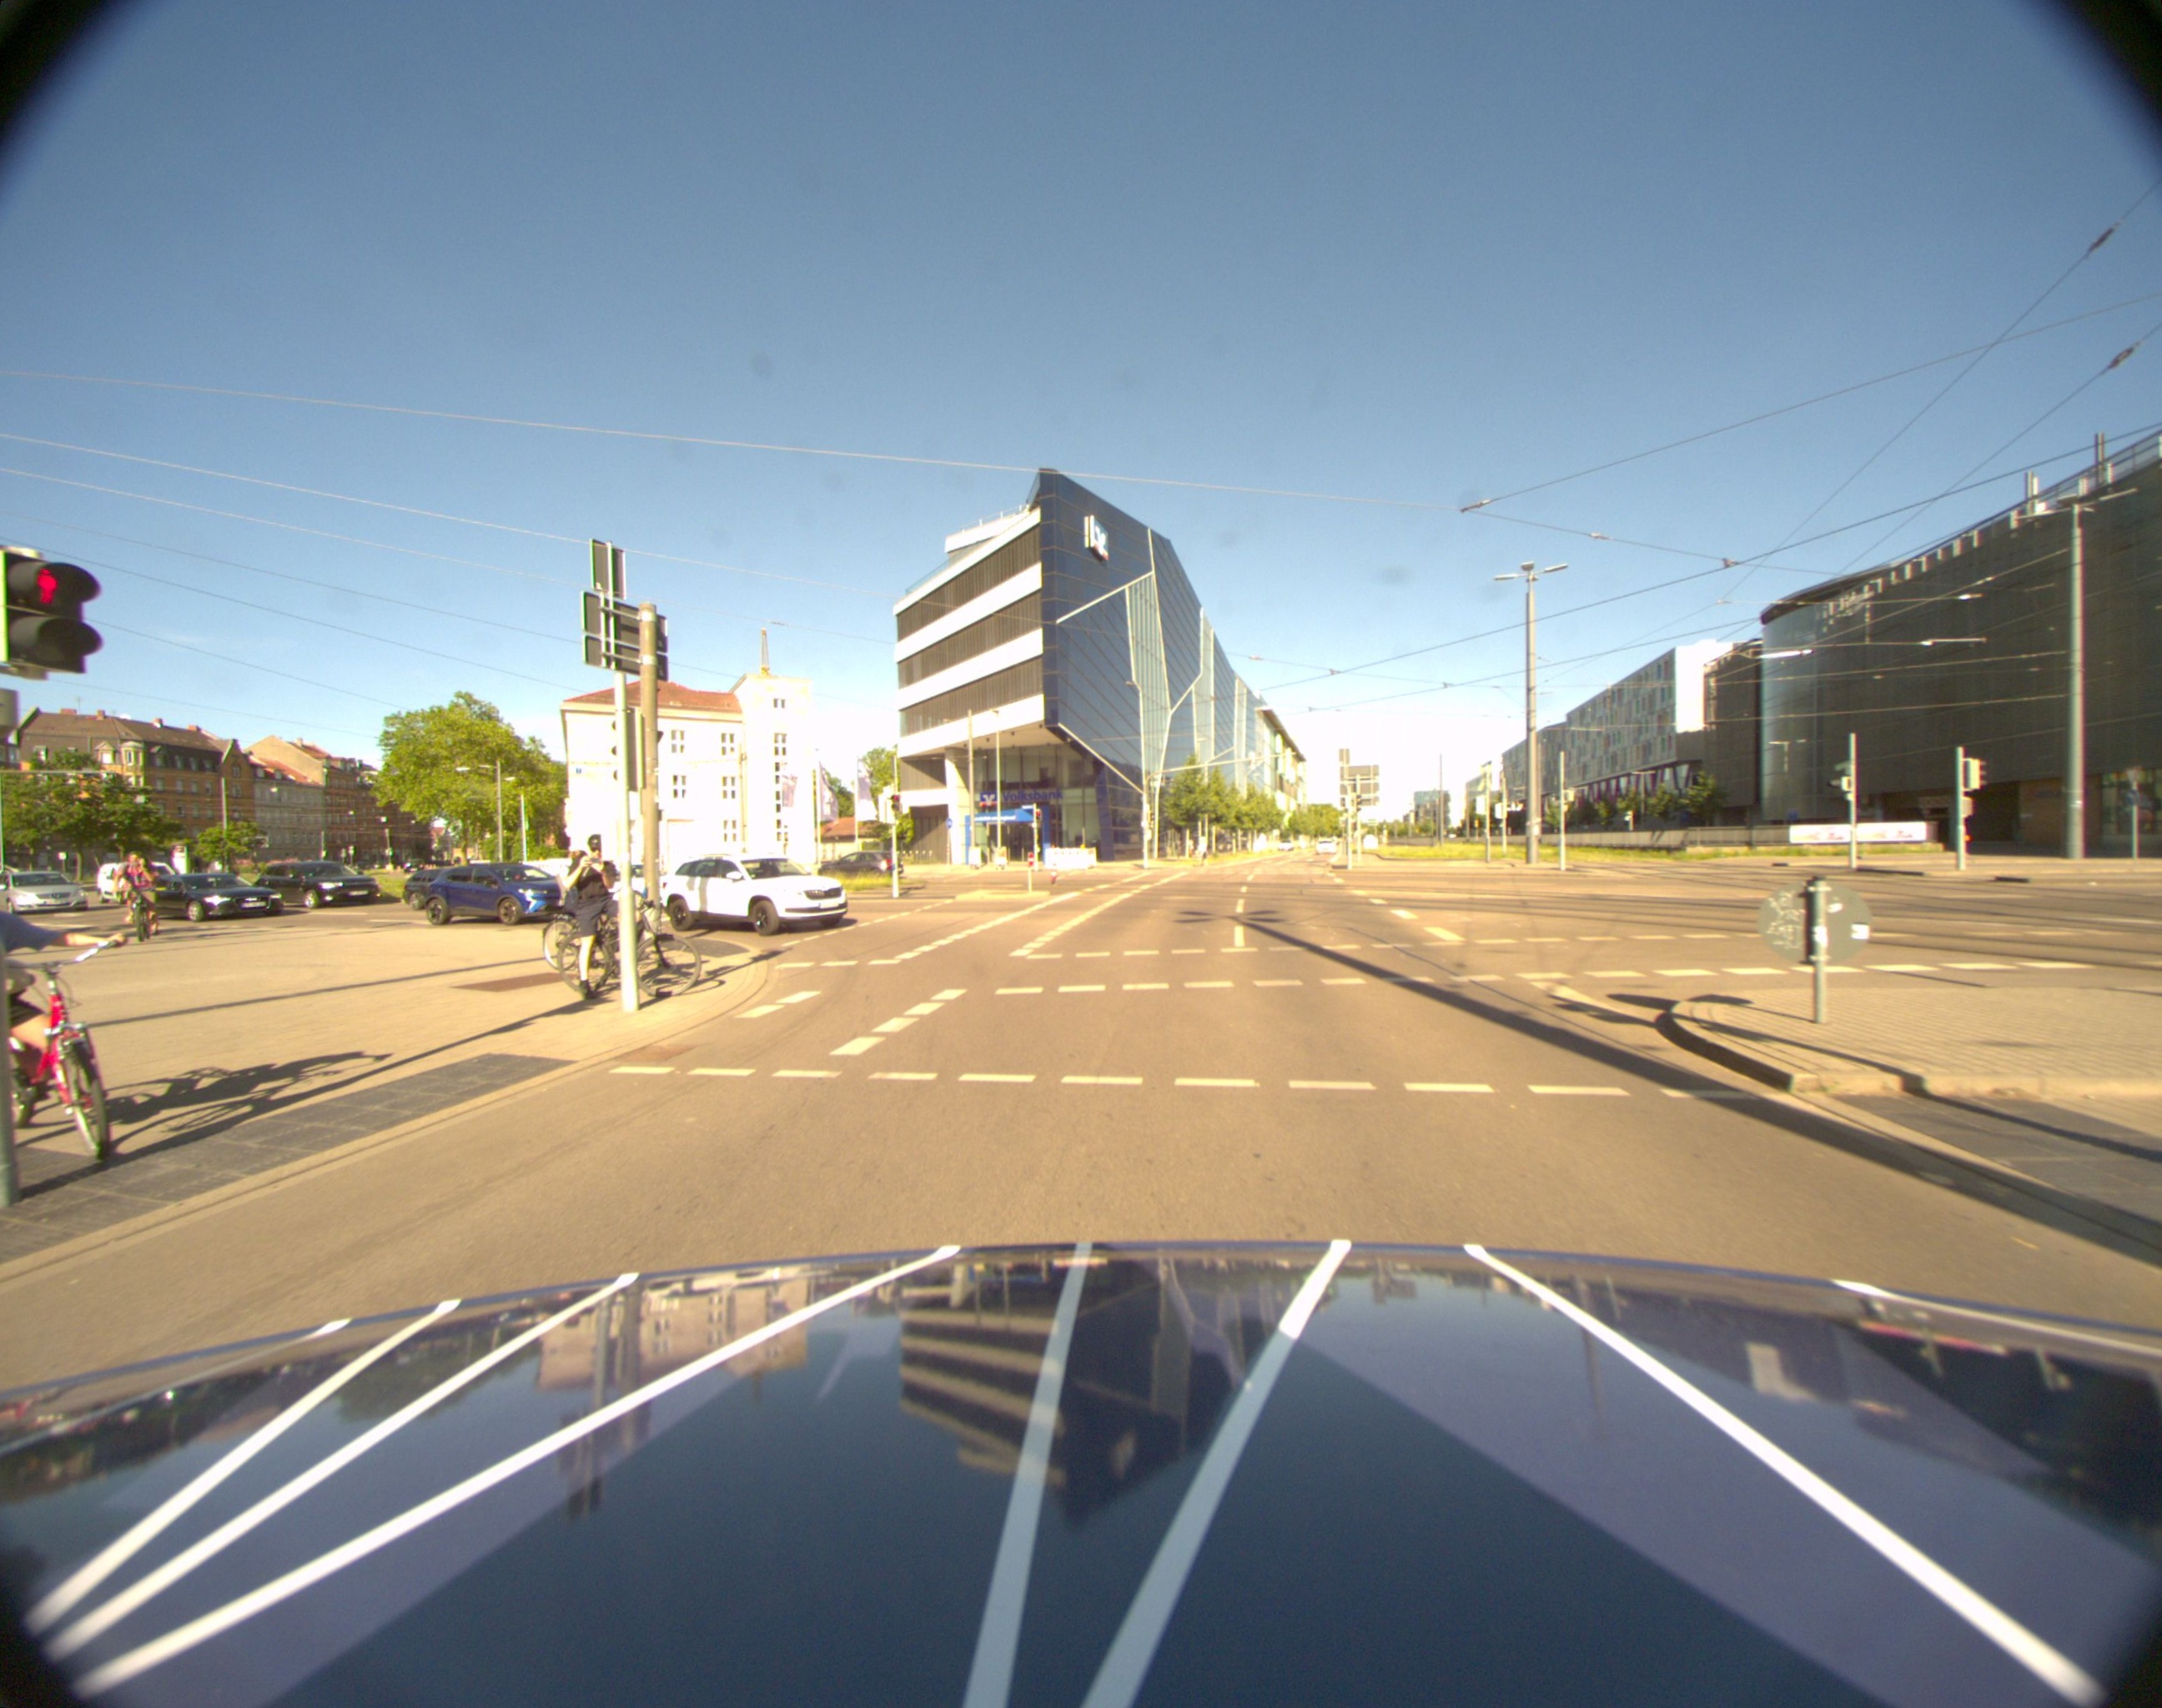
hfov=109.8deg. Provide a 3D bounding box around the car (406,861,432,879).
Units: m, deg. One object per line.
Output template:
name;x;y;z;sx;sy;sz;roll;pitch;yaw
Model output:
car;-70.054;1.633;80.468;1.773;1.740;3.989;-2;2;-37

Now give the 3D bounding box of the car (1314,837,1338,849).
car;23.646;-1.051;73.190;1.995;1.084;4.005;-1;1;20

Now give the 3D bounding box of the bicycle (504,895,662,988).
bicycle;-6.781;1.147;10.341;2.007;1.098;0.698;1;0;19

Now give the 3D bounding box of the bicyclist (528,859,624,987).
bicyclist;-6.879;0.908;10.366;1.001;1.645;0.596;1;1;18

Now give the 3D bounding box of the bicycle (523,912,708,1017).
bicycle;-5.261;1.222;8.610;1.892;1.032;0.607;0;1;13

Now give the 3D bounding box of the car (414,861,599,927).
car;-15.128;1.026;20.059;3.991;1.547;1.877;-1;1;18

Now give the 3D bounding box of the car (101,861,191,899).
car;-41.938;1.127;34.078;3.989;1.547;1.878;-1;2;30

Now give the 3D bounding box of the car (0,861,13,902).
car;-53.581;1.354;36.640;4.641;1.971;1.878;0;2;41

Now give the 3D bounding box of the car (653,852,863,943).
car;-6.980;0.838;16.346;4.326;1.621;1.877;-1;4;31

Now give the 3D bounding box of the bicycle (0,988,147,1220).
bicycle;-5.948;1.277;4.012;1.704;0.949;0.698;0;1;18

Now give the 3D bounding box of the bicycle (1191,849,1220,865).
bicycle;7.244;0.171;44.028;0.768;0.835;2.572;-1;2;31

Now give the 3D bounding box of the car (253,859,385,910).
car;-27.851;1.087;27.766;4.317;1.675;1.772;-1;3;22

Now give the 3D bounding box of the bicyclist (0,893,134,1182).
bicyclist;-5.713;0.928;4.027;0.825;1.395;0.590;0;1;18

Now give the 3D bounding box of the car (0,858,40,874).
car;-91.217;1.047;63.599;1.995;1.203;4.406;-1;1;20

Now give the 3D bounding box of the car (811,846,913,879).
car;-10.726;0.412;37.356;4.302;1.491;2.001;-1;1;11

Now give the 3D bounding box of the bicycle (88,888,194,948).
bicycle;-19.196;1.281;15.510;2.007;1.098;0.698;1;0;18

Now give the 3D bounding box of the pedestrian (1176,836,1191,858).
pedestrian;7.384;-0.485;54.681;0.855;1.547;0.614;-1;2;24

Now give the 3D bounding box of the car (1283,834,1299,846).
car;31.512;-2.176;113.823;1.995;1.718;4.005;-1;1;20

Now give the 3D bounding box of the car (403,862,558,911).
car;-19.994;1.055;25.323;4.474;1.423;1.843;-1;3;19

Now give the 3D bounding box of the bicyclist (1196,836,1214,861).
bicyclist;7.150;-0.327;43.881;0.760;1.402;0.773;0;2;31

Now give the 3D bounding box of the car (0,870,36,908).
car;-47.206;1.509;32.799;3.989;1.547;1.878;-1;2;28

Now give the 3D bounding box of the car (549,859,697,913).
car;-13.971;0.970;23.222;3.827;1.423;1.671;-1;4;18

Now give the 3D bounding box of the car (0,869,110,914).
car;-39.416;1.394;28.914;3.991;1.547;1.877;-1;1;21

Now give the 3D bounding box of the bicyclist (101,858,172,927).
bicyclist;-19.322;0.767;15.549;0.736;1.369;0.698;1;0;18

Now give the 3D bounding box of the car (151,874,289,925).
car;-27.170;1.396;23.976;3.828;1.425;1.588;-1;1;21

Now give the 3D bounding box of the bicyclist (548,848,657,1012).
bicyclist;-5.429;0.826;8.643;0.904;1.788;0.550;0;1;13
